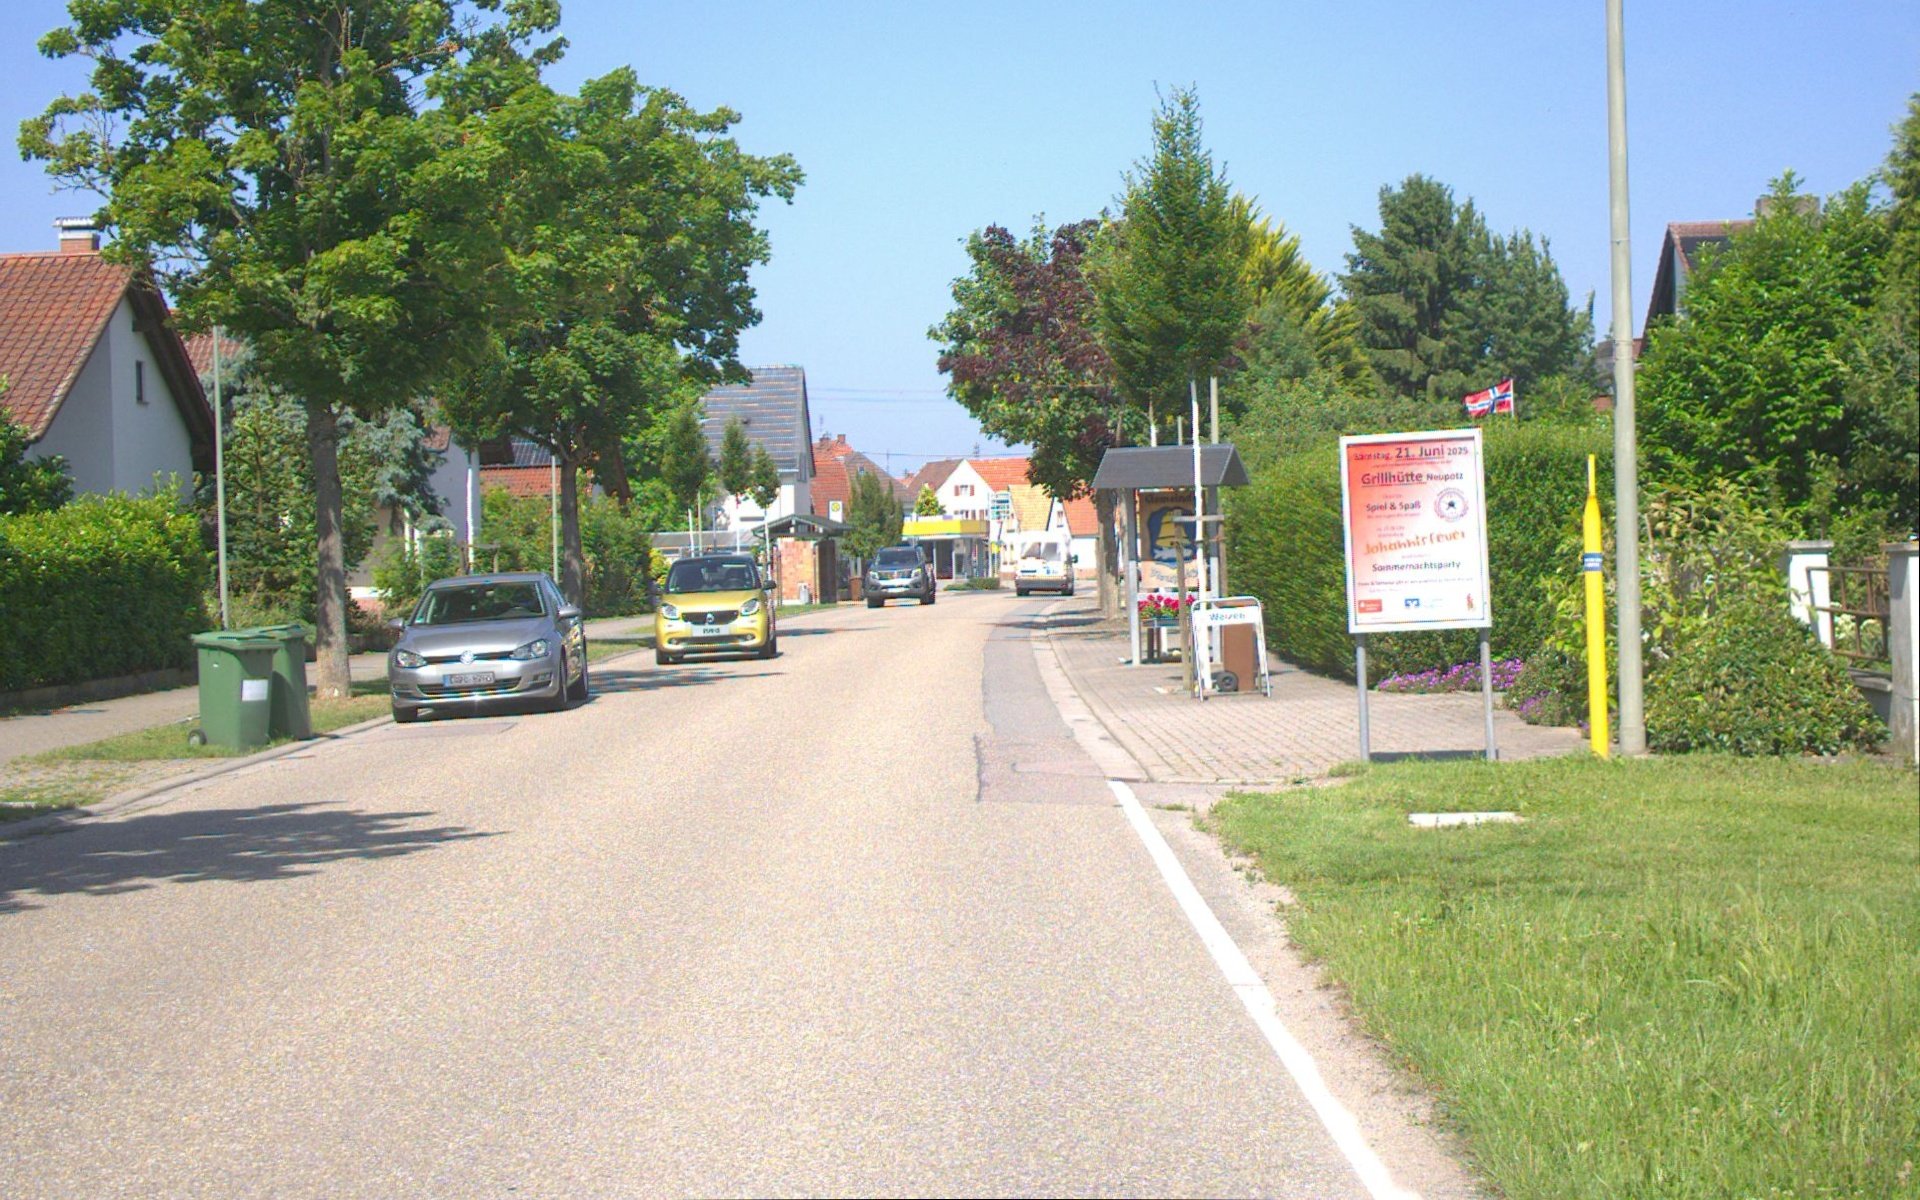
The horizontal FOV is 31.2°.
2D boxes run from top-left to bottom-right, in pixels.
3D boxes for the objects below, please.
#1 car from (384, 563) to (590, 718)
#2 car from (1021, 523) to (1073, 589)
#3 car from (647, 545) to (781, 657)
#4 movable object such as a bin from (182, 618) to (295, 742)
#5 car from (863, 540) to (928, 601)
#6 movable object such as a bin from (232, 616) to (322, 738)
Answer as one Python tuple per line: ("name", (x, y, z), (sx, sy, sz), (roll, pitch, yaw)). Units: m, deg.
("car", (-4.915, 0.379, 36.166), (1.647, 1.419, 4.081), (-4, 1, -2))
("car", (3.389, -1.709, 133.154), (1.738, 2.424, 4.374), (-2, 1, 4))
("car", (-3.626, -0.010, 51.086), (1.666, 1.519, 3.442), (-3, 1, 0))
("movable object such as a bin", (-6.452, 0.713, 30.765), (0.714, 1.075, 0.639), (-2, 1, 25))
("car", (-1.957, -0.900, 103.714), (1.835, 1.747, 3.796), (-2, 1, -2))
("movable object such as a bin", (-6.248, 0.699, 31.476), (0.575, 1.075, 0.598), (-2, 1, 13))
